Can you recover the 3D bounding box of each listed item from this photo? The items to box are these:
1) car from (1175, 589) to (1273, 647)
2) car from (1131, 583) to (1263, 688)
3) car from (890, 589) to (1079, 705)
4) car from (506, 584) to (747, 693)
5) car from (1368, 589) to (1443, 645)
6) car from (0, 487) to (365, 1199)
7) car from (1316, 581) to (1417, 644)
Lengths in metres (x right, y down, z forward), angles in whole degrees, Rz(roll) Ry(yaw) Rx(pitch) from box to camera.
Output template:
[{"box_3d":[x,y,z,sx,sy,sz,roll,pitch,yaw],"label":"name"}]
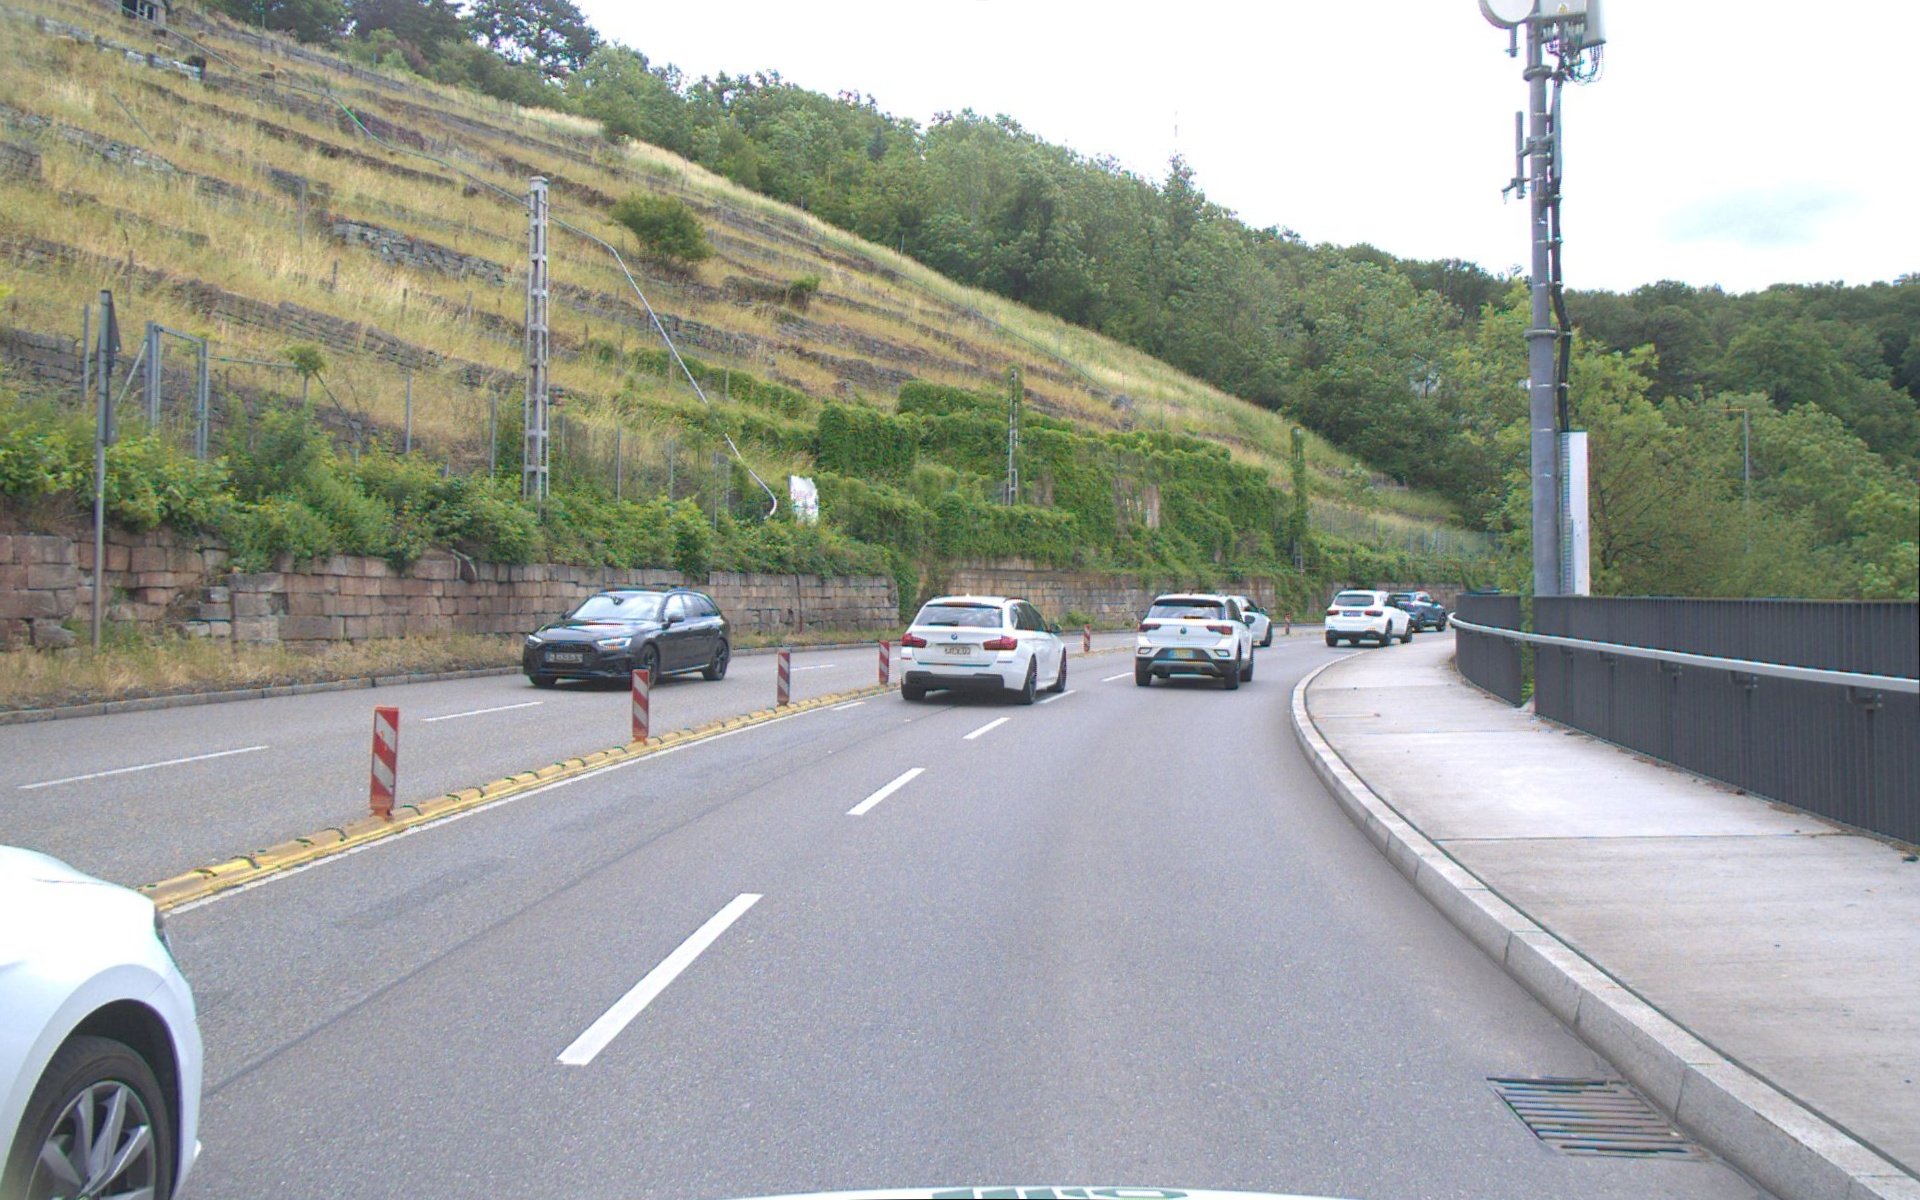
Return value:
[{"box_3d":[7.457,0.491,46.364,1.952,1.529,4.669,0,0,19],"label":"car"},{"box_3d":[4.235,0.574,29.065,1.789,1.633,4.003,3,1,15],"label":"car"},{"box_3d":[0.470,0.635,24.185,1.789,1.485,4.489,1,0,13],"label":"car"},{"box_3d":[-4.884,0.516,24.919,1.811,1.438,4.419,2,1,14],"label":"car"},{"box_3d":[17.458,0.669,64.658,1.955,2.049,3.995,-3,-2,27],"label":"car"},{"box_3d":[-2.370,0.620,1.762,1.783,1.608,4.357,1,0,1],"label":"car"},{"box_3d":[12.239,0.430,49.659,1.955,1.748,4.107,-2,-3,28],"label":"car"}]
